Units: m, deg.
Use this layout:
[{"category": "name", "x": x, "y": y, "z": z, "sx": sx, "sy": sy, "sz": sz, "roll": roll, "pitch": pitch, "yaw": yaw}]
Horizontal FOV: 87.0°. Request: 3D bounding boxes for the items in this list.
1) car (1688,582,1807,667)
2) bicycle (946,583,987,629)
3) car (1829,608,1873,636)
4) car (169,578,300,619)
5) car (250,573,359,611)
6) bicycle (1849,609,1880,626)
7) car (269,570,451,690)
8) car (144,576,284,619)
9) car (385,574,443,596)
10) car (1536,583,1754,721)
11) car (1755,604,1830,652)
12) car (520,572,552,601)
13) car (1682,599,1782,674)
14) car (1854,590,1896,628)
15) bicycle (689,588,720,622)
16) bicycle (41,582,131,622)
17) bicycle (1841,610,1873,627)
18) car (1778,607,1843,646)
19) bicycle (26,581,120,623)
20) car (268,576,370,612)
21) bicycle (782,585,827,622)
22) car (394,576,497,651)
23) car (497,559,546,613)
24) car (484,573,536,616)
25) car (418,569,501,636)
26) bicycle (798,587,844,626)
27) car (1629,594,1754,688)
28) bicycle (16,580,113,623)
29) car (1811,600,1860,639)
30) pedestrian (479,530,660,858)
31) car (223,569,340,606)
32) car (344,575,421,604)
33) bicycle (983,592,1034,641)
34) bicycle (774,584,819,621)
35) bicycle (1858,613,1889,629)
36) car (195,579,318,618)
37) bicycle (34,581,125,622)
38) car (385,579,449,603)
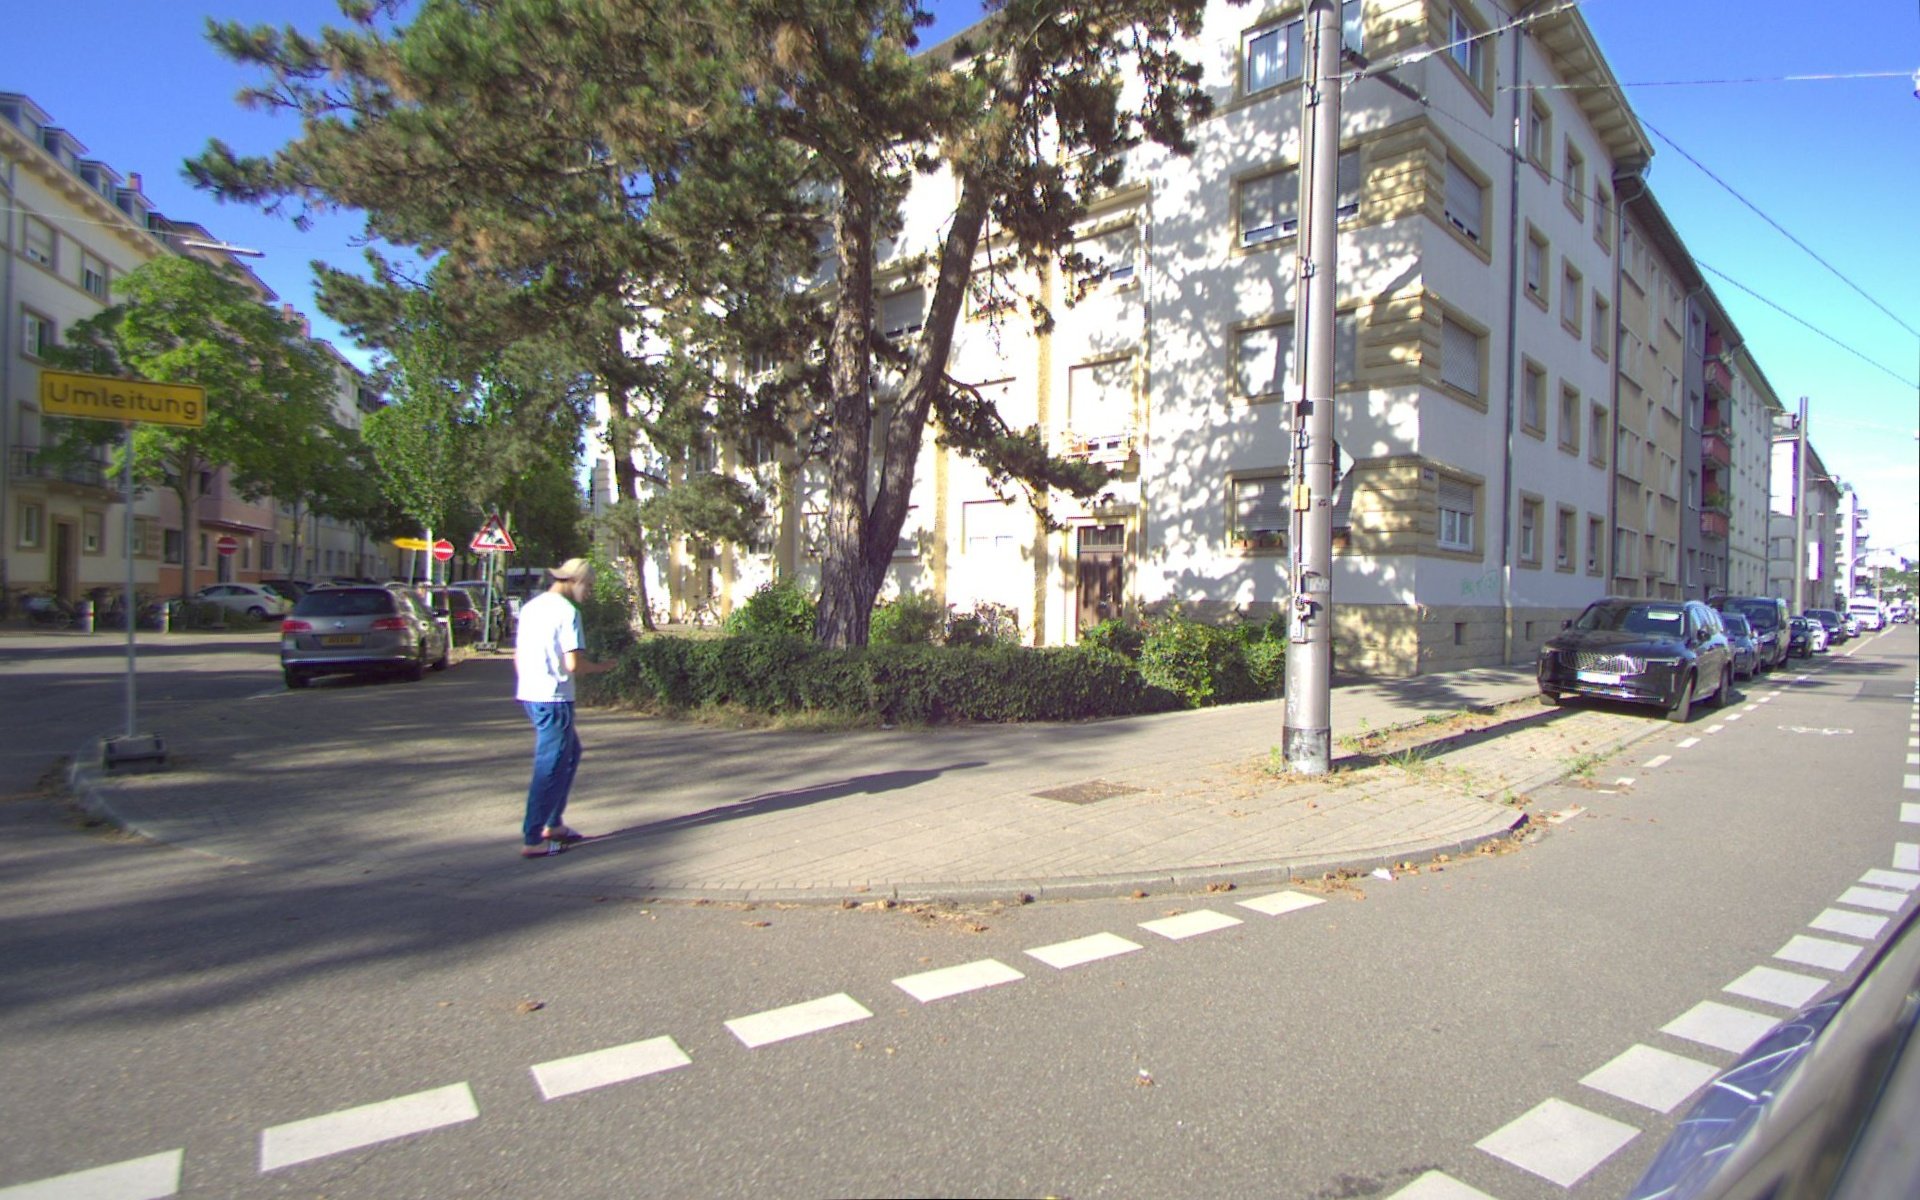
[{"category": "car", "x": 21.080, "y": 0.577, "z": 27.014, "sx": 1.914, "sy": 1.922, "sz": 5.054, "roll": 6, "pitch": 4, "yaw": 43}, {"category": "bicycle", "x": 0.163, "y": 0.143, "z": 26.390, "sx": 0.383, "sy": 1.126, "sz": 1.389, "roll": 1, "pitch": 2, "yaw": -30}, {"category": "car", "x": 52.648, "y": 1.266, "z": 59.746, "sx": 1.695, "sy": 1.476, "sz": 4.308, "roll": 3, "pitch": 2, "yaw": 44}, {"category": "car", "x": -29.046, "y": -0.055, "z": 40.658, "sx": 3.916, "sy": 1.572, "sz": 1.821, "roll": 0, "pitch": -1, "yaw": -19}, {"category": "car", "x": -30.910, "y": -0.369, "z": 47.845, "sx": 3.916, "sy": 1.728, "sz": 2.004, "roll": 0, "pitch": -1, "yaw": -19}, {"category": "bicycle", "x": 66.635, "y": 1.279, "z": 74.546, "sx": 0.464, "sy": 1.100, "sz": 1.920, "roll": -2, "pitch": 2, "yaw": -3}, {"category": "car", "x": -9.201, "y": 0.339, "z": 15.870, "sx": 1.733, "sy": 1.519, "sz": 4.315, "roll": -2, "pitch": 3, "yaw": -21}, {"category": "car", "x": -28.374, "y": -0.078, "z": 38.635, "sx": 3.916, "sy": 1.572, "sz": 1.821, "roll": 0, "pitch": -1, "yaw": -19}, {"category": "car", "x": -44.870, "y": -1.220, "z": 83.267, "sx": 3.916, "sy": 1.728, "sz": 2.004, "roll": 0, "pitch": -1, "yaw": -19}, {"category": "car", "x": 10.913, "y": 0.684, "z": 15.959, "sx": 4.853, "sy": 1.737, "sz": 1.881, "roll": 0, "pitch": 4, "yaw": -45}, {"category": "car", "x": 28.961, "y": 0.920, "z": 35.175, "sx": 1.637, "sy": 1.471, "sz": 3.729, "roll": 5, "pitch": 3, "yaw": 44}, {"category": "car", "x": -26.153, "y": -0.822, "z": 62.483, "sx": 1.762, "sy": 1.632, "sz": 4.007, "roll": 0, "pitch": -1, "yaw": -22}, {"category": "car", "x": 17.933, "y": 0.777, "z": 23.448, "sx": 1.510, "sy": 1.496, "sz": 4.174, "roll": 3, "pitch": 2, "yaw": 41}, {"category": "car", "x": 70.919, "y": 0.694, "z": 78.418, "sx": 2.152, "sy": 2.729, "sz": 6.192, "roll": 4, "pitch": 3, "yaw": 44}, {"category": "bicycle", "x": -8.881, "y": 0.173, "z": 35.141, "sx": 1.383, "sy": 1.126, "sz": 0.385, "roll": 2, "pitch": 1, "yaw": 45}, {"category": "bicycle", "x": -27.112, "y": 0.058, "z": 31.438, "sx": 2.020, "sy": 1.204, "sz": 0.597, "roll": 0, "pitch": -1, "yaw": -29}, {"category": "bicycle", "x": 65.751, "y": 1.350, "z": 74.178, "sx": 0.464, "sy": 1.100, "sz": 1.920, "roll": 4, "pitch": 2, "yaw": -3}, {"category": "car", "x": 34.234, "y": 1.032, "z": 40.702, "sx": 1.703, "sy": 1.291, "sz": 4.236, "roll": 7, "pitch": 4, "yaw": 43}, {"category": "bicycle", "x": -26.422, "y": 0.058, "z": 30.188, "sx": 2.020, "sy": 1.204, "sz": 0.597, "roll": 0, "pitch": -1, "yaw": -29}, {"category": "car", "x": -31.811, "y": -0.291, "z": 50.335, "sx": 3.916, "sy": 1.728, "sz": 2.004, "roll": 0, "pitch": -1, "yaw": -19}, {"category": "bicycle", "x": -4.832, "y": 0.104, "z": 31.542, "sx": 1.362, "sy": 1.126, "sz": 0.390, "roll": 0, "pitch": 2, "yaw": -41}, {"category": "car", "x": -11.777, "y": 0.254, "z": 23.384, "sx": 1.732, "sy": 1.488, "sz": 3.921, "roll": 1, "pitch": 2, "yaw": -22}, {"category": "car", "x": -21.443, "y": -0.626, "z": 49.660, "sx": 2.082, "sy": 2.474, "sz": 5.327, "roll": 0, "pitch": -1, "yaw": -22}, {"category": "car", "x": -18.007, "y": -0.186, "z": 40.629, "sx": 1.762, "sy": 1.632, "sz": 4.007, "roll": 0, "pitch": -1, "yaw": -22}, {"category": "car", "x": -14.061, "y": 0.051, "z": 28.595, "sx": 1.732, "sy": 1.733, "sz": 3.920, "roll": 1, "pitch": 0, "yaw": -22}, {"category": "bicycle", "x": -4.243, "y": 0.196, "z": 30.889, "sx": 1.362, "sy": 1.126, "sz": 0.390, "roll": 0, "pitch": 2, "yaw": -41}, {"category": "car", "x": 14.635, "y": 0.728, "z": 20.178, "sx": 1.593, "sy": 1.598, "sz": 3.837, "roll": 4, "pitch": 3, "yaw": 41}, {"category": "bicycle", "x": -26.027, "y": 0.038, "z": 29.442, "sx": 2.020, "sy": 1.204, "sz": 0.597, "roll": 0, "pitch": -1, "yaw": -29}, {"category": "car", "x": 41.718, "y": 0.885, "z": 48.202, "sx": 1.635, "sy": 1.667, "sz": 4.307, "roll": 5, "pitch": 3, "yaw": 42}, {"category": "pedestrian", "x": -2.306, "y": 0.489, "z": 5.950, "sx": 0.712, "sy": 1.744, "sz": 0.882, "roll": 1, "pitch": 0, "yaw": -40}, {"category": "car", "x": -30.064, "y": -0.541, "z": 44.971, "sx": 3.916, "sy": 1.572, "sz": 2.004, "roll": 0, "pitch": -1, "yaw": -19}, {"category": "car", "x": -36.346, "y": -0.648, "z": 63.805, "sx": 3.916, "sy": 1.728, "sz": 2.004, "roll": 0, "pitch": -1, "yaw": -19}, {"category": "bicycle", "x": 1.201, "y": 0.389, "z": 25.165, "sx": 0.384, "sy": 1.126, "sz": 1.385, "roll": 1, "pitch": 2, "yaw": -41}, {"category": "bicycle", "x": -5.153, "y": 0.090, "z": 31.899, "sx": 1.362, "sy": 1.126, "sz": 0.390, "roll": 0, "pitch": 2, "yaw": -41}, {"category": "bicycle", "x": 67.487, "y": 1.541, "z": 74.768, "sx": 0.477, "sy": 1.101, "sz": 2.027, "roll": -1, "pitch": -1, "yaw": 2}, {"category": "car", "x": -29.570, "y": -0.059, "z": 42.671, "sx": 3.916, "sy": 1.572, "sz": 1.821, "roll": 0, "pitch": -1, "yaw": -19}, {"category": "bicycle", "x": -26.797, "y": 0.048, "z": 30.840, "sx": 2.020, "sy": 1.204, "sz": 0.597, "roll": 0, "pitch": -1, "yaw": -29}, {"category": "car", "x": -40.003, "y": -0.676, "z": 74.661, "sx": 3.916, "sy": 1.728, "sz": 2.004, "roll": 0, "pitch": -1, "yaw": -19}]
